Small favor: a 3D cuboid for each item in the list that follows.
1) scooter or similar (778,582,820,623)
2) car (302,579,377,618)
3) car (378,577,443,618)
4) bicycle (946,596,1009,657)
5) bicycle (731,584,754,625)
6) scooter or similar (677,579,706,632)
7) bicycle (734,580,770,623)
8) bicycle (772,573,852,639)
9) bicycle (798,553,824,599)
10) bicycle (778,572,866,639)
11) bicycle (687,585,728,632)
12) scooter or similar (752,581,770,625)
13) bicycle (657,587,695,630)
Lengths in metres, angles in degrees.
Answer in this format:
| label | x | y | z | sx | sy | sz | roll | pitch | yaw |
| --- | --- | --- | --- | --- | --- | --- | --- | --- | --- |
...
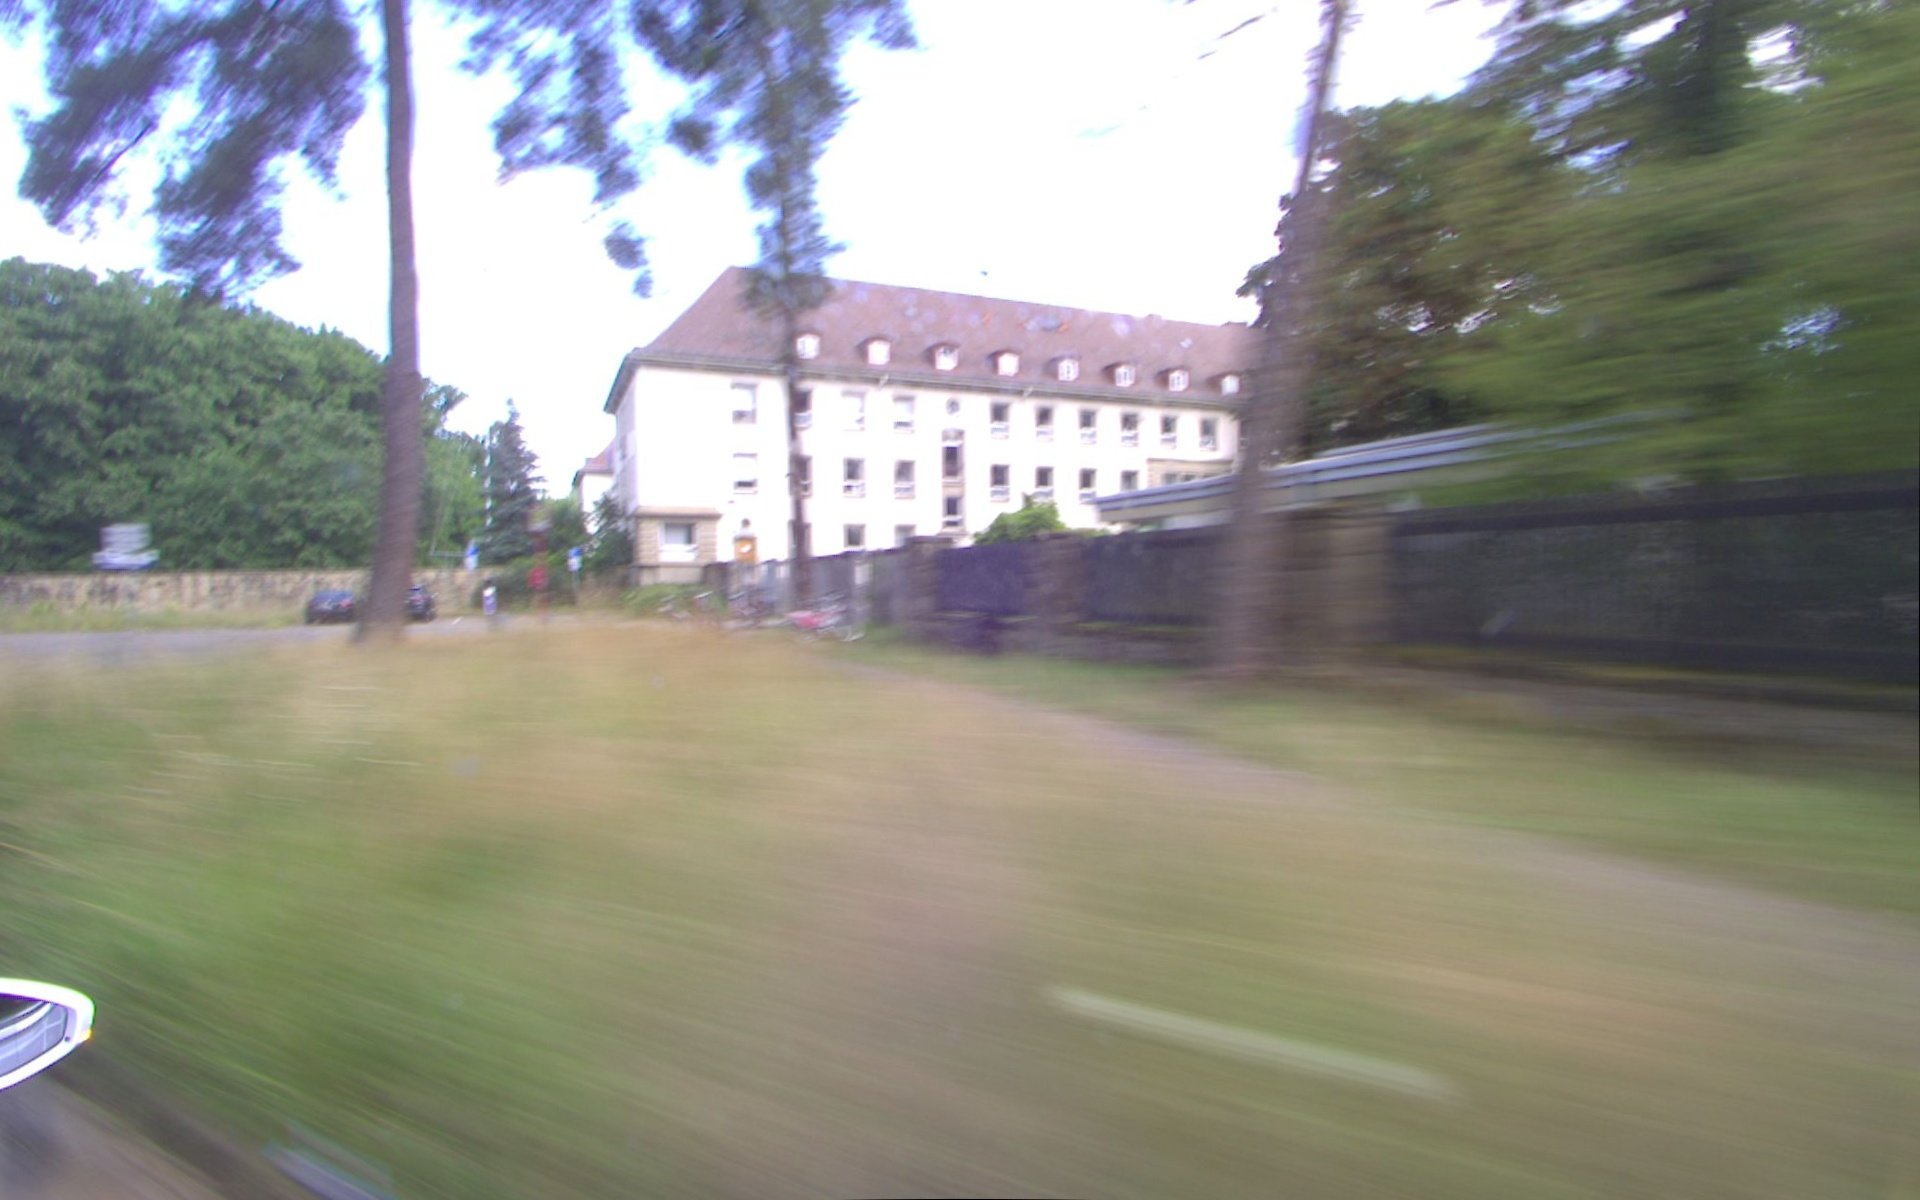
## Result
| label | x | y | z | sx | sy | sz | roll | pitch | yaw |
| --- | --- | --- | --- | --- | --- | --- | --- | --- | --- |
| scooter or similar | -4.745 | 0.072 | 29.530 | 0.433 | 1.166 | 1.242 | 1 | 3 | 39 |
| car | -26.054 | -0.105 | 42.174 | 1.847 | 1.462 | 3.987 | -1 | 3 | -20 |
| car | -23.432 | -0.162 | 42.833 | 1.867 | 1.568 | 3.986 | -1 | 3 | -21 |
| bicycle | 0.293 | 0.456 | 18.169 | 0.367 | 1.030 | 1.946 | -2 | 1 | -23 |
| bicycle | -6.316 | 0.121 | 29.115 | 0.611 | 1.178 | 1.608 | 0 | 1 | -12 |
| scooter or similar | -6.475 | 0.128 | 24.137 | 0.432 | 1.244 | 1.085 | 0 | 0 | -28 |
| bicycle | -6.532 | 0.040 | 31.357 | 0.662 | 1.294 | 1.733 | -2 | 1 | -27 |
| bicycle | -3.438 | 0.118 | 23.395 | 1.777 | 1.437 | 0.584 | -3 | 3 | -39 |
| bicycle | -4.751 | -0.745 | 31.812 | 0.507 | 1.436 | 1.902 | 0 | 1 | -18 |
| bicycle | -3.126 | 0.097 | 22.838 | 1.959 | 1.437 | 0.573 | -3 | 3 | -39 |
| bicycle | -7.111 | 0.228 | 28.144 | 0.626 | 1.257 | 2.164 | -2 | 1 | -27 |
| scooter or similar | -5.821 | 0.091 | 29.321 | 0.379 | 1.262 | 1.282 | -1 | 1 | -16 |
| bicycle | -7.551 | 0.207 | 26.595 | 0.729 | 1.099 | 1.676 | 0 | 1 | -24 |
